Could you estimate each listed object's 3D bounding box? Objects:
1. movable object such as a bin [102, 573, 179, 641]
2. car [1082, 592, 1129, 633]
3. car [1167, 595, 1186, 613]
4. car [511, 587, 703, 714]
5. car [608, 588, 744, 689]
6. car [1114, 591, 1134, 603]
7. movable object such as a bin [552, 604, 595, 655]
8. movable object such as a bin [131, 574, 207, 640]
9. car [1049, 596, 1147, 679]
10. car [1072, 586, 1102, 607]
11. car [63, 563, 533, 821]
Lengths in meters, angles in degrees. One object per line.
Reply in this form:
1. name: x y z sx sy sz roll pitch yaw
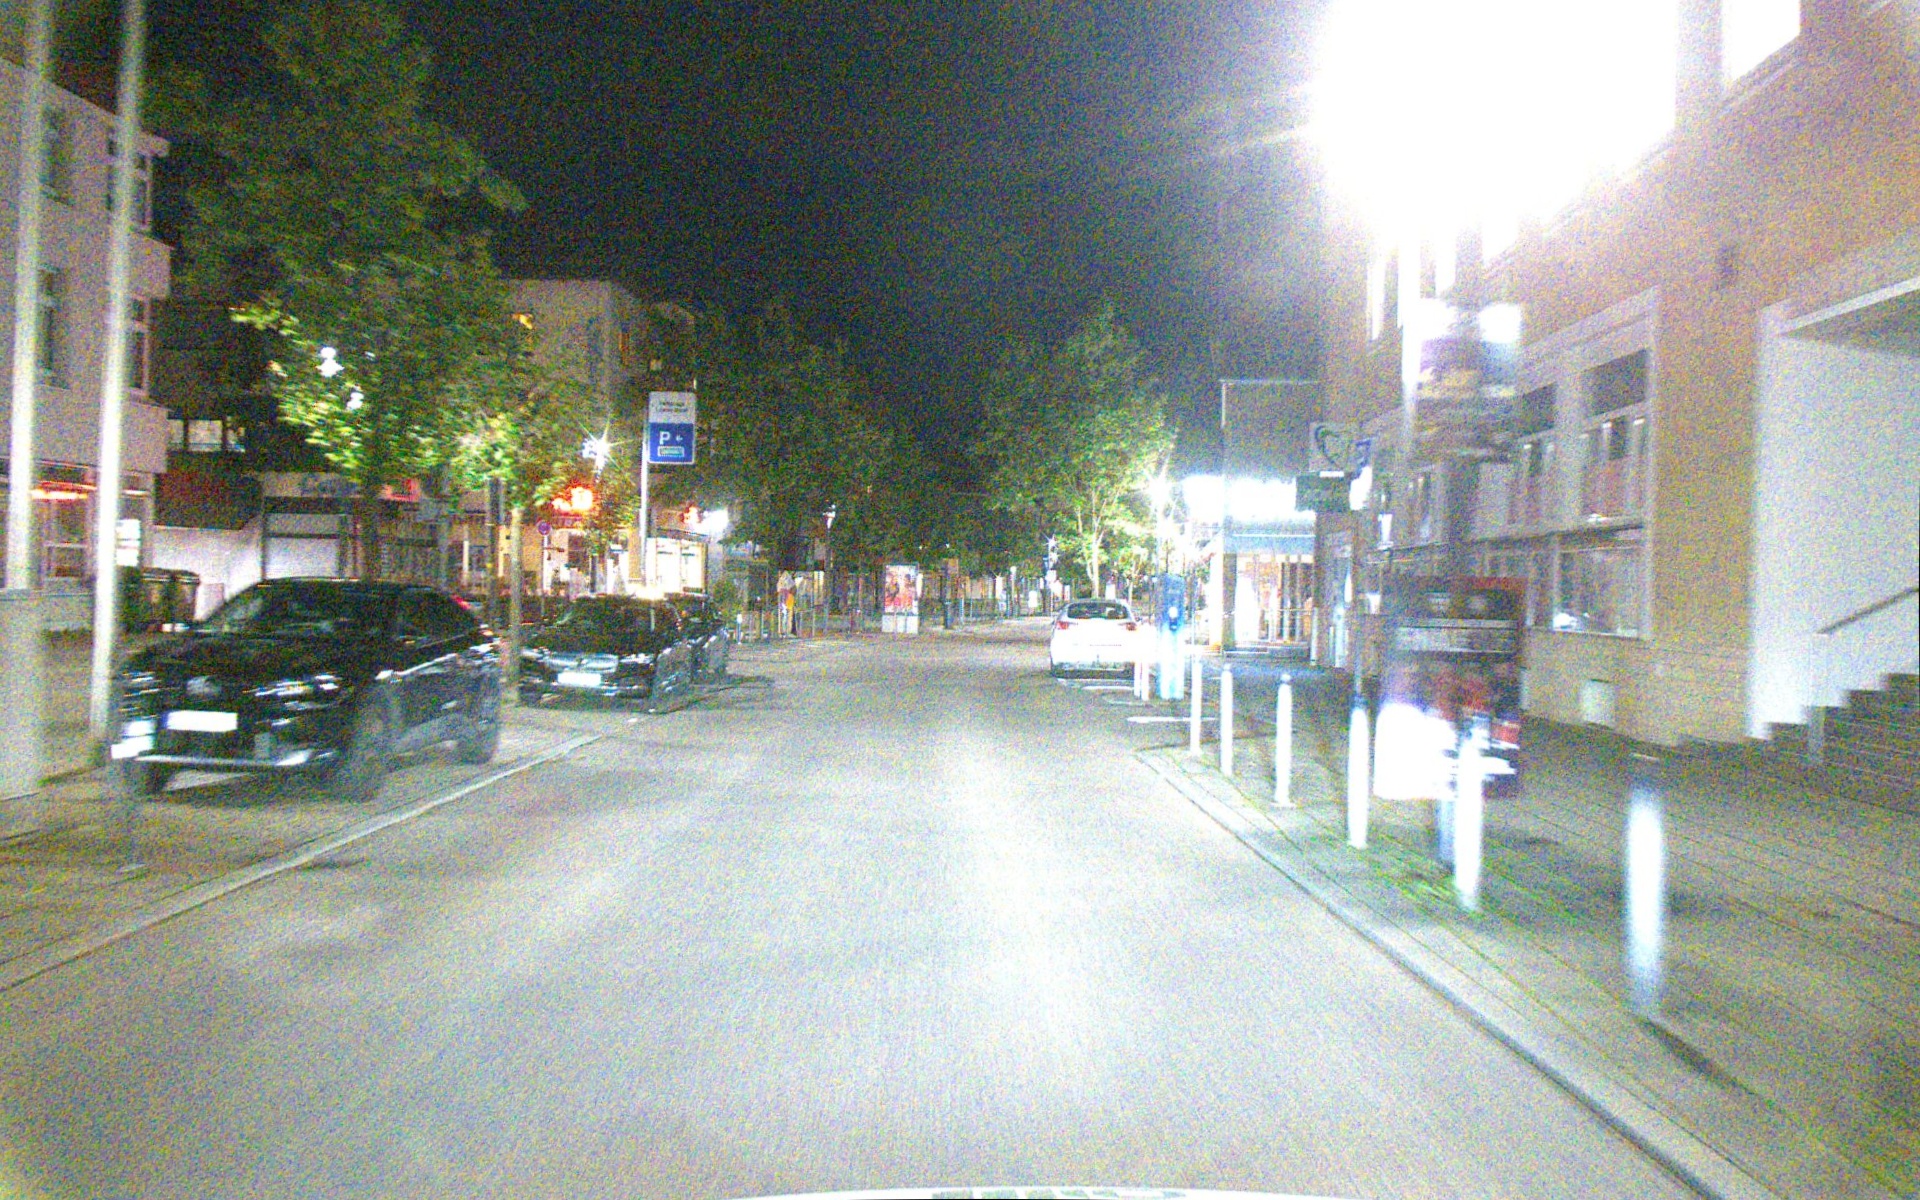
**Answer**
1. movable object such as a bin: -18.223 0.158 36.795 1.015 1.469 1.286 1 -1 1
2. car: 5.449 0.451 62.041 1.698 1.466 4.499 0 1 5
3. car: 18.860 0.357 144.028 1.639 1.485 3.679 0 1 8
4. car: -4.849 0.628 23.369 1.867 1.568 4.779 1 0 -3
5. car: -5.036 0.628 29.891 1.723 1.666 4.814 0 0 -1
6. car: 19.195 -0.359 193.691 1.873 1.394 4.462 0 1 12
7. movable object such as a bin: -8.300 0.624 35.579 0.731 1.083 0.792 0 -1 -1
8. movable object such as a bin: -18.215 0.171 38.109 1.107 1.483 1.228 1 -1 1
9. car: 2.659 0.713 32.685 1.706 1.514 4.637 0 -1 2
10. car: 10.767 -0.307 139.816 1.975 1.720 5.007 2 1 11
11. car: -4.819 0.591 12.841 1.734 1.601 4.483 2 0 1
